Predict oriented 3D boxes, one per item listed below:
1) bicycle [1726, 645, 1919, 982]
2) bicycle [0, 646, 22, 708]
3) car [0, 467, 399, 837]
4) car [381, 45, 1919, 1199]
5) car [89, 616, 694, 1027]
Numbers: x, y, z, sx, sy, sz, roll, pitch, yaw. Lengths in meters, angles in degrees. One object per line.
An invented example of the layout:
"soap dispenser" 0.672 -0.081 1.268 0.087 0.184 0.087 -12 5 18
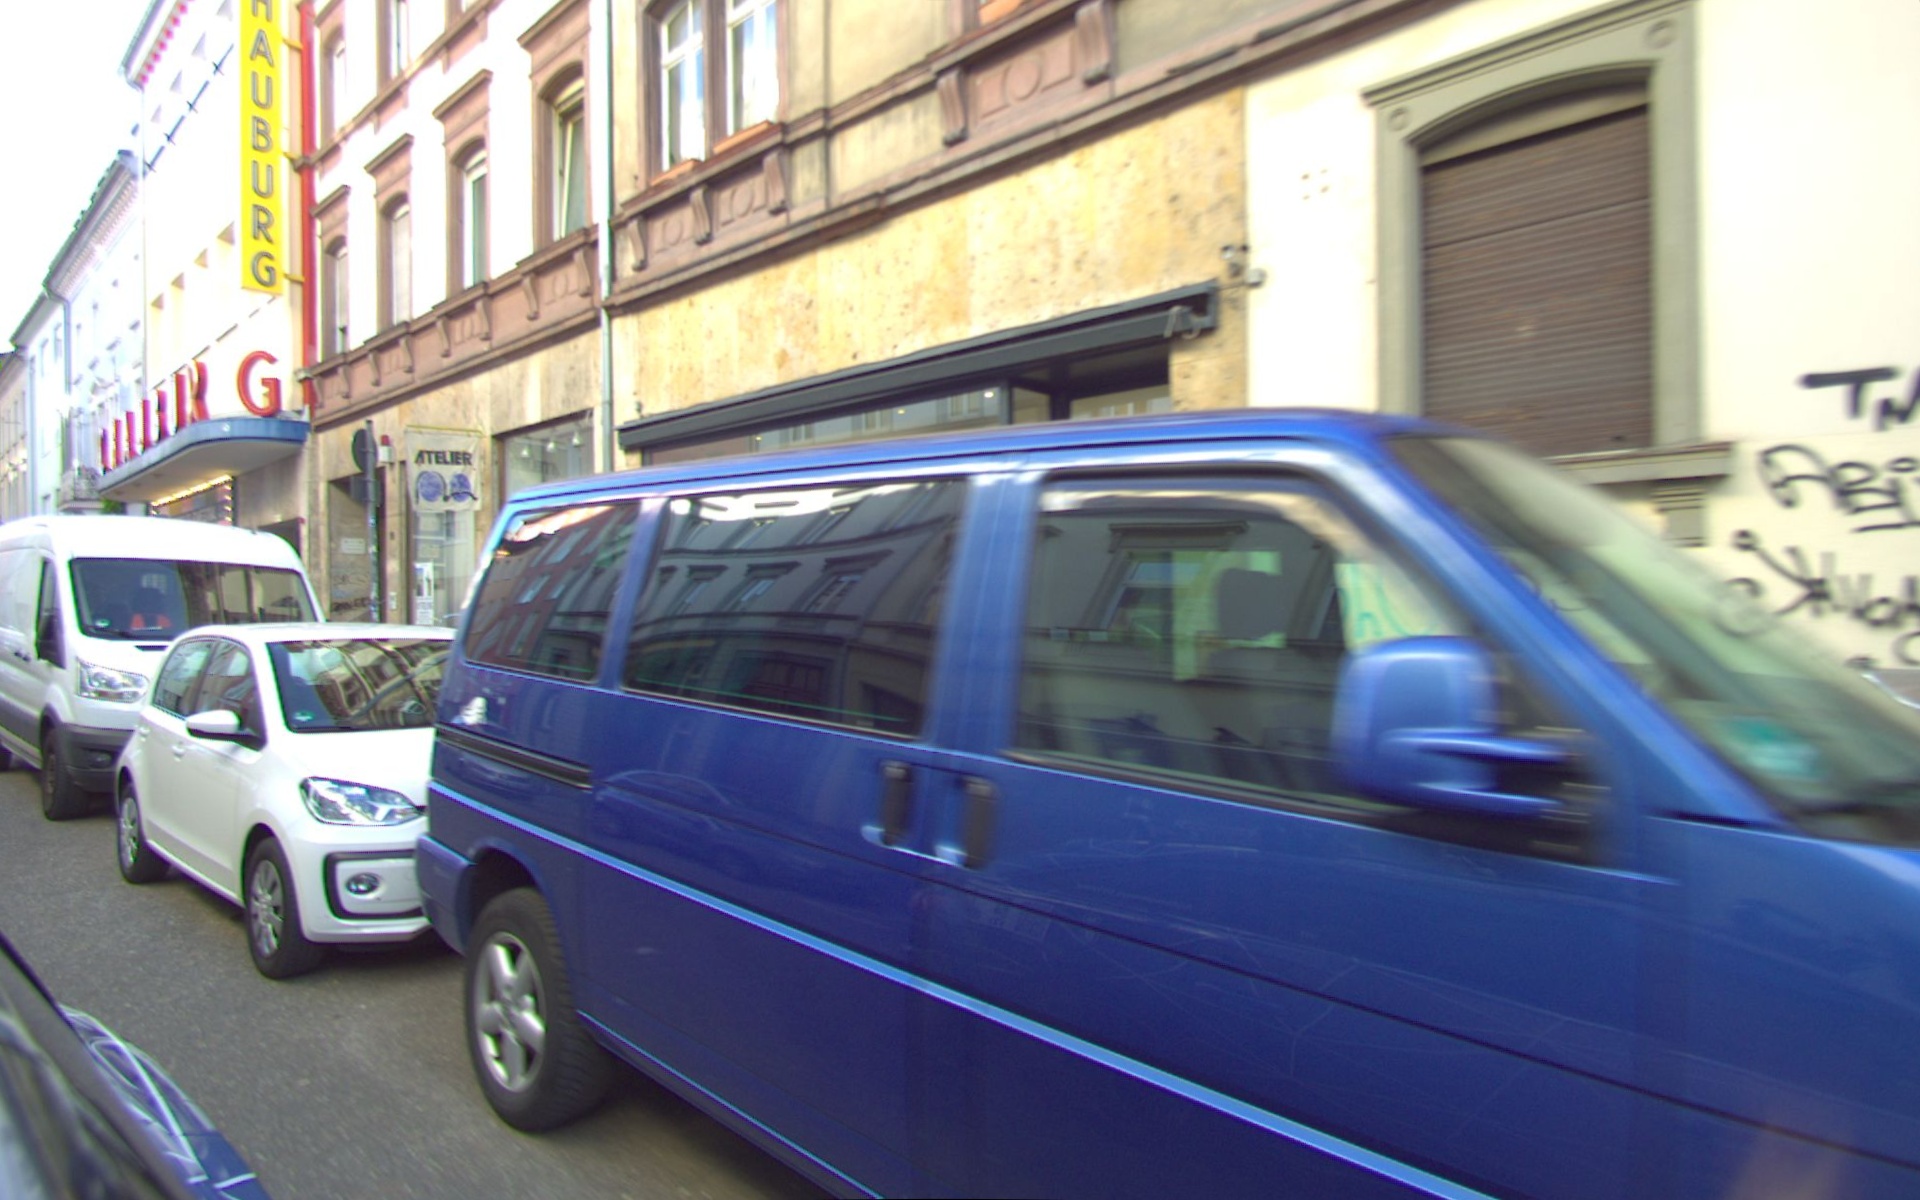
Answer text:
"bicycle" 3.758 0.705 3.221 2.029 1.028 0.747 -2 3 43
"bicycle" -17.675 1.389 18.513 1.862 1.055 0.438 -1 1 38
"car" -7.628 0.422 9.511 5.917 2.471 2.146 -1 -2 40
"car" 0.456 0.508 2.457 4.612 1.906 1.808 -1 -3 42
"car" -3.274 0.840 5.506 3.836 1.458 1.629 -1 -1 40
